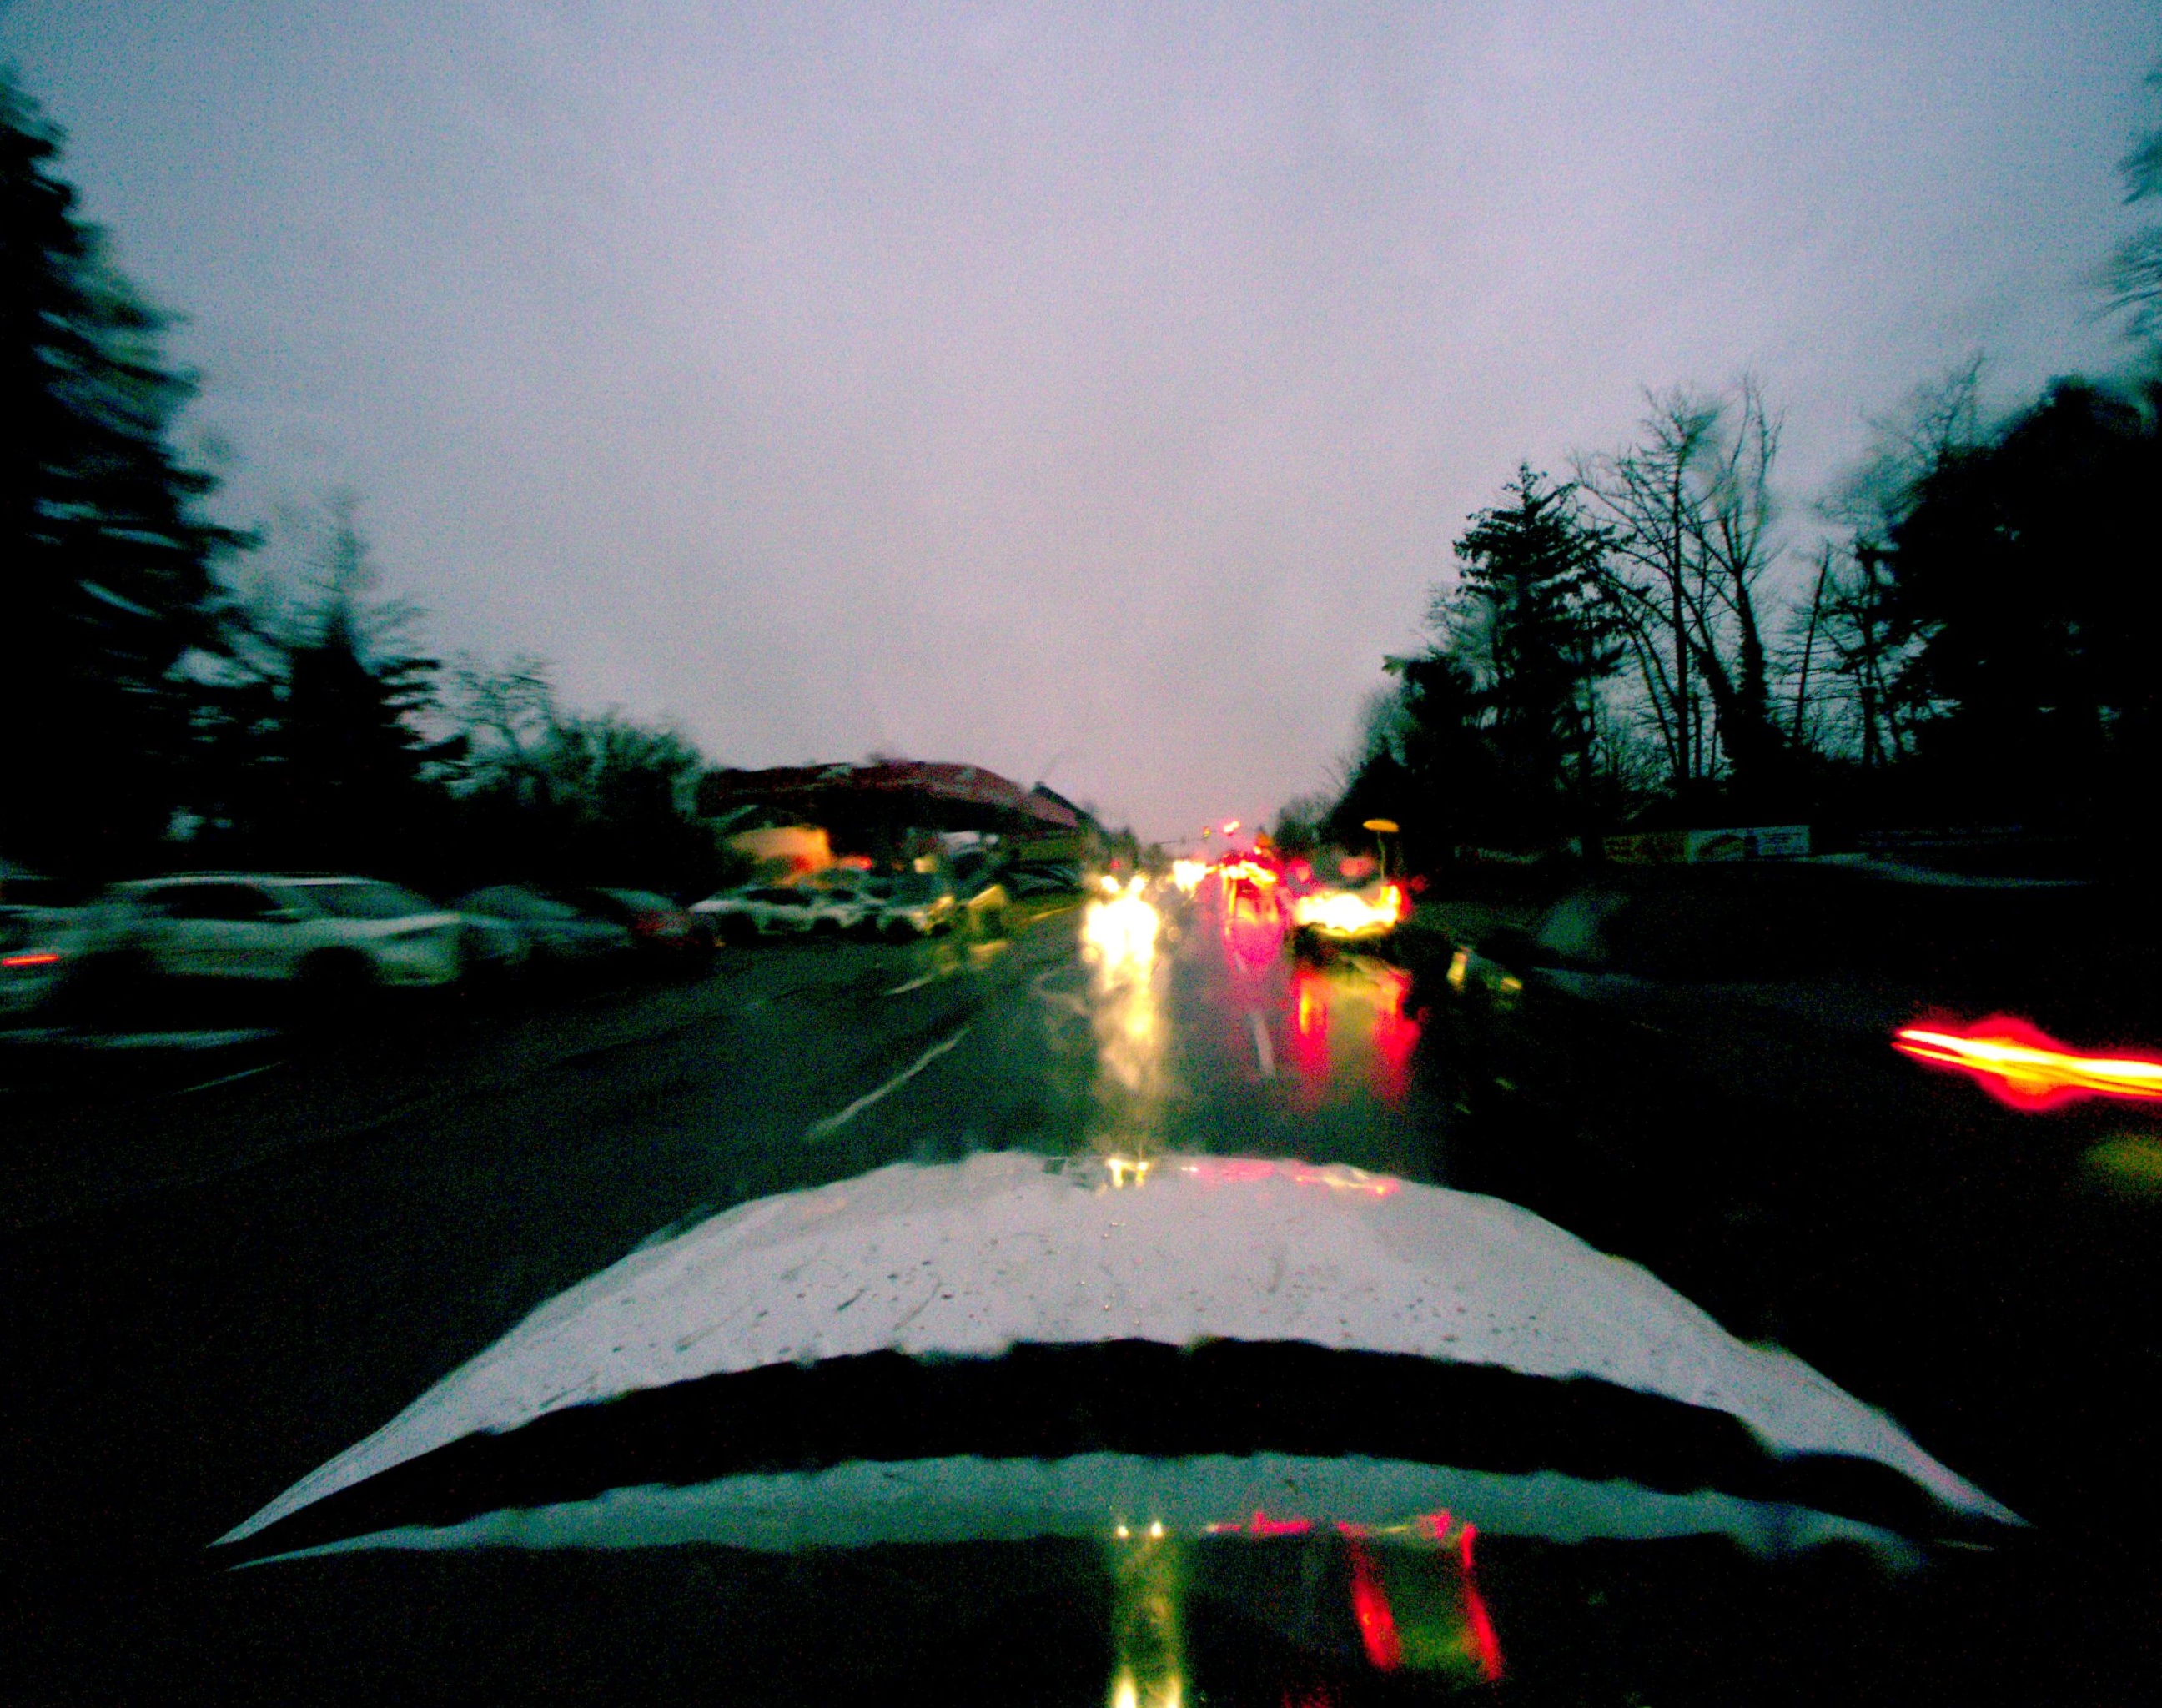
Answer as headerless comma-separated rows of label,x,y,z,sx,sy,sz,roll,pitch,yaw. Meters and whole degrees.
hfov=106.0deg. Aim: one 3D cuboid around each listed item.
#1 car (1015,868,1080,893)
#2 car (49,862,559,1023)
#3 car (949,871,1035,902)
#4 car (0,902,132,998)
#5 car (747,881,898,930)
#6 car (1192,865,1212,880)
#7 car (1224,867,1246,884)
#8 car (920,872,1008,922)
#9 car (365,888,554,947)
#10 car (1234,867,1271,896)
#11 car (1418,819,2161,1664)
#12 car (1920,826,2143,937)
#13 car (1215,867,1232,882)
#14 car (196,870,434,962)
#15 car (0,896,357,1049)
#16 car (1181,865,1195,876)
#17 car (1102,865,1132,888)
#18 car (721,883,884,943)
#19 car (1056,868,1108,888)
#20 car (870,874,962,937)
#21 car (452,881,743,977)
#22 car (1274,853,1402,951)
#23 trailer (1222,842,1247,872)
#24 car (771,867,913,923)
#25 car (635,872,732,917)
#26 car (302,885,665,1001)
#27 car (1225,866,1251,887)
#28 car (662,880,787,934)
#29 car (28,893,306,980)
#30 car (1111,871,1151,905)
car,-2.319,1.826,57.339,4.251,1.662,2.005,0,-1,9
car,-9.348,1.014,10.064,4.513,1.676,2.013,-2,-1,4
car,-4.414,1.603,40.600,3.836,1.346,1.844,-2,-1,8
car,-17.421,1.532,12.519,1.653,1.384,3.645,-3,-1,42
car,-7.667,1.516,24.292,3.836,1.346,1.844,-1,-1,8
car,14.058,2.157,94.568,2.037,1.573,4.711,-3,-2,6
car,14.496,2.003,76.907,1.825,1.568,4.514,-1,-1,9
car,-3.756,1.367,26.821,1.672,1.421,3.751,-2,-1,11
car,-17.311,1.752,22.777,3.963,1.465,1.963,-2,-1,9
car,8.946,1.406,42.727,1.631,1.366,4.781,-2,-1,9
car,2.740,0.712,3.401,1.555,1.529,4.017,-2,-1,9
car,16.367,0.392,13.969,4.502,1.608,1.998,-1,-1,-35
car,14.828,2.133,84.678,1.652,1.439,4.392,-1,-1,9
car,-17.719,1.399,18.931,3.963,1.922,1.963,-2,-1,9
car,-13.034,1.545,11.699,1.660,1.676,3.713,-2,-1,7
car,18.115,2.798,137.740,1.980,1.746,4.013,-4,-2,12
car,3.184,1.889,70.434,1.959,1.830,4.524,-4,-1,9
car,-7.484,1.572,22.101,3.752,1.460,1.779,-1,-1,6
car,0.096,2.085,70.572,4.251,1.627,2.005,0,-1,9
car,-4.551,1.393,22.850,1.509,1.543,3.022,-4,-1,9
car,-8.681,1.327,14.782,4.310,1.498,1.830,-2,-1,9
car,4.754,0.821,15.657,1.698,1.576,4.476,-2,-1,9
trailer,17.925,0.436,95.570,2.473,3.241,10.893,-2,-1,9
car,-7.885,1.347,27.042,4.021,1.650,1.947,-2,-1,10
car,-16.007,1.605,32.990,1.608,1.572,3.592,-2,0,11
car,-8.911,1.301,12.322,4.307,1.498,2.001,-2,-1,11
car,10.851,1.531,56.567,1.643,1.336,4.283,-2,-1,9
car,-11.403,1.661,26.332,1.822,1.490,3.882,-1,-1,10
car,-18.100,1.603,16.214,3.963,1.510,1.794,-2,-1,9
car,2.607,1.681,41.488,1.594,1.534,4.009,-4,-1,8
